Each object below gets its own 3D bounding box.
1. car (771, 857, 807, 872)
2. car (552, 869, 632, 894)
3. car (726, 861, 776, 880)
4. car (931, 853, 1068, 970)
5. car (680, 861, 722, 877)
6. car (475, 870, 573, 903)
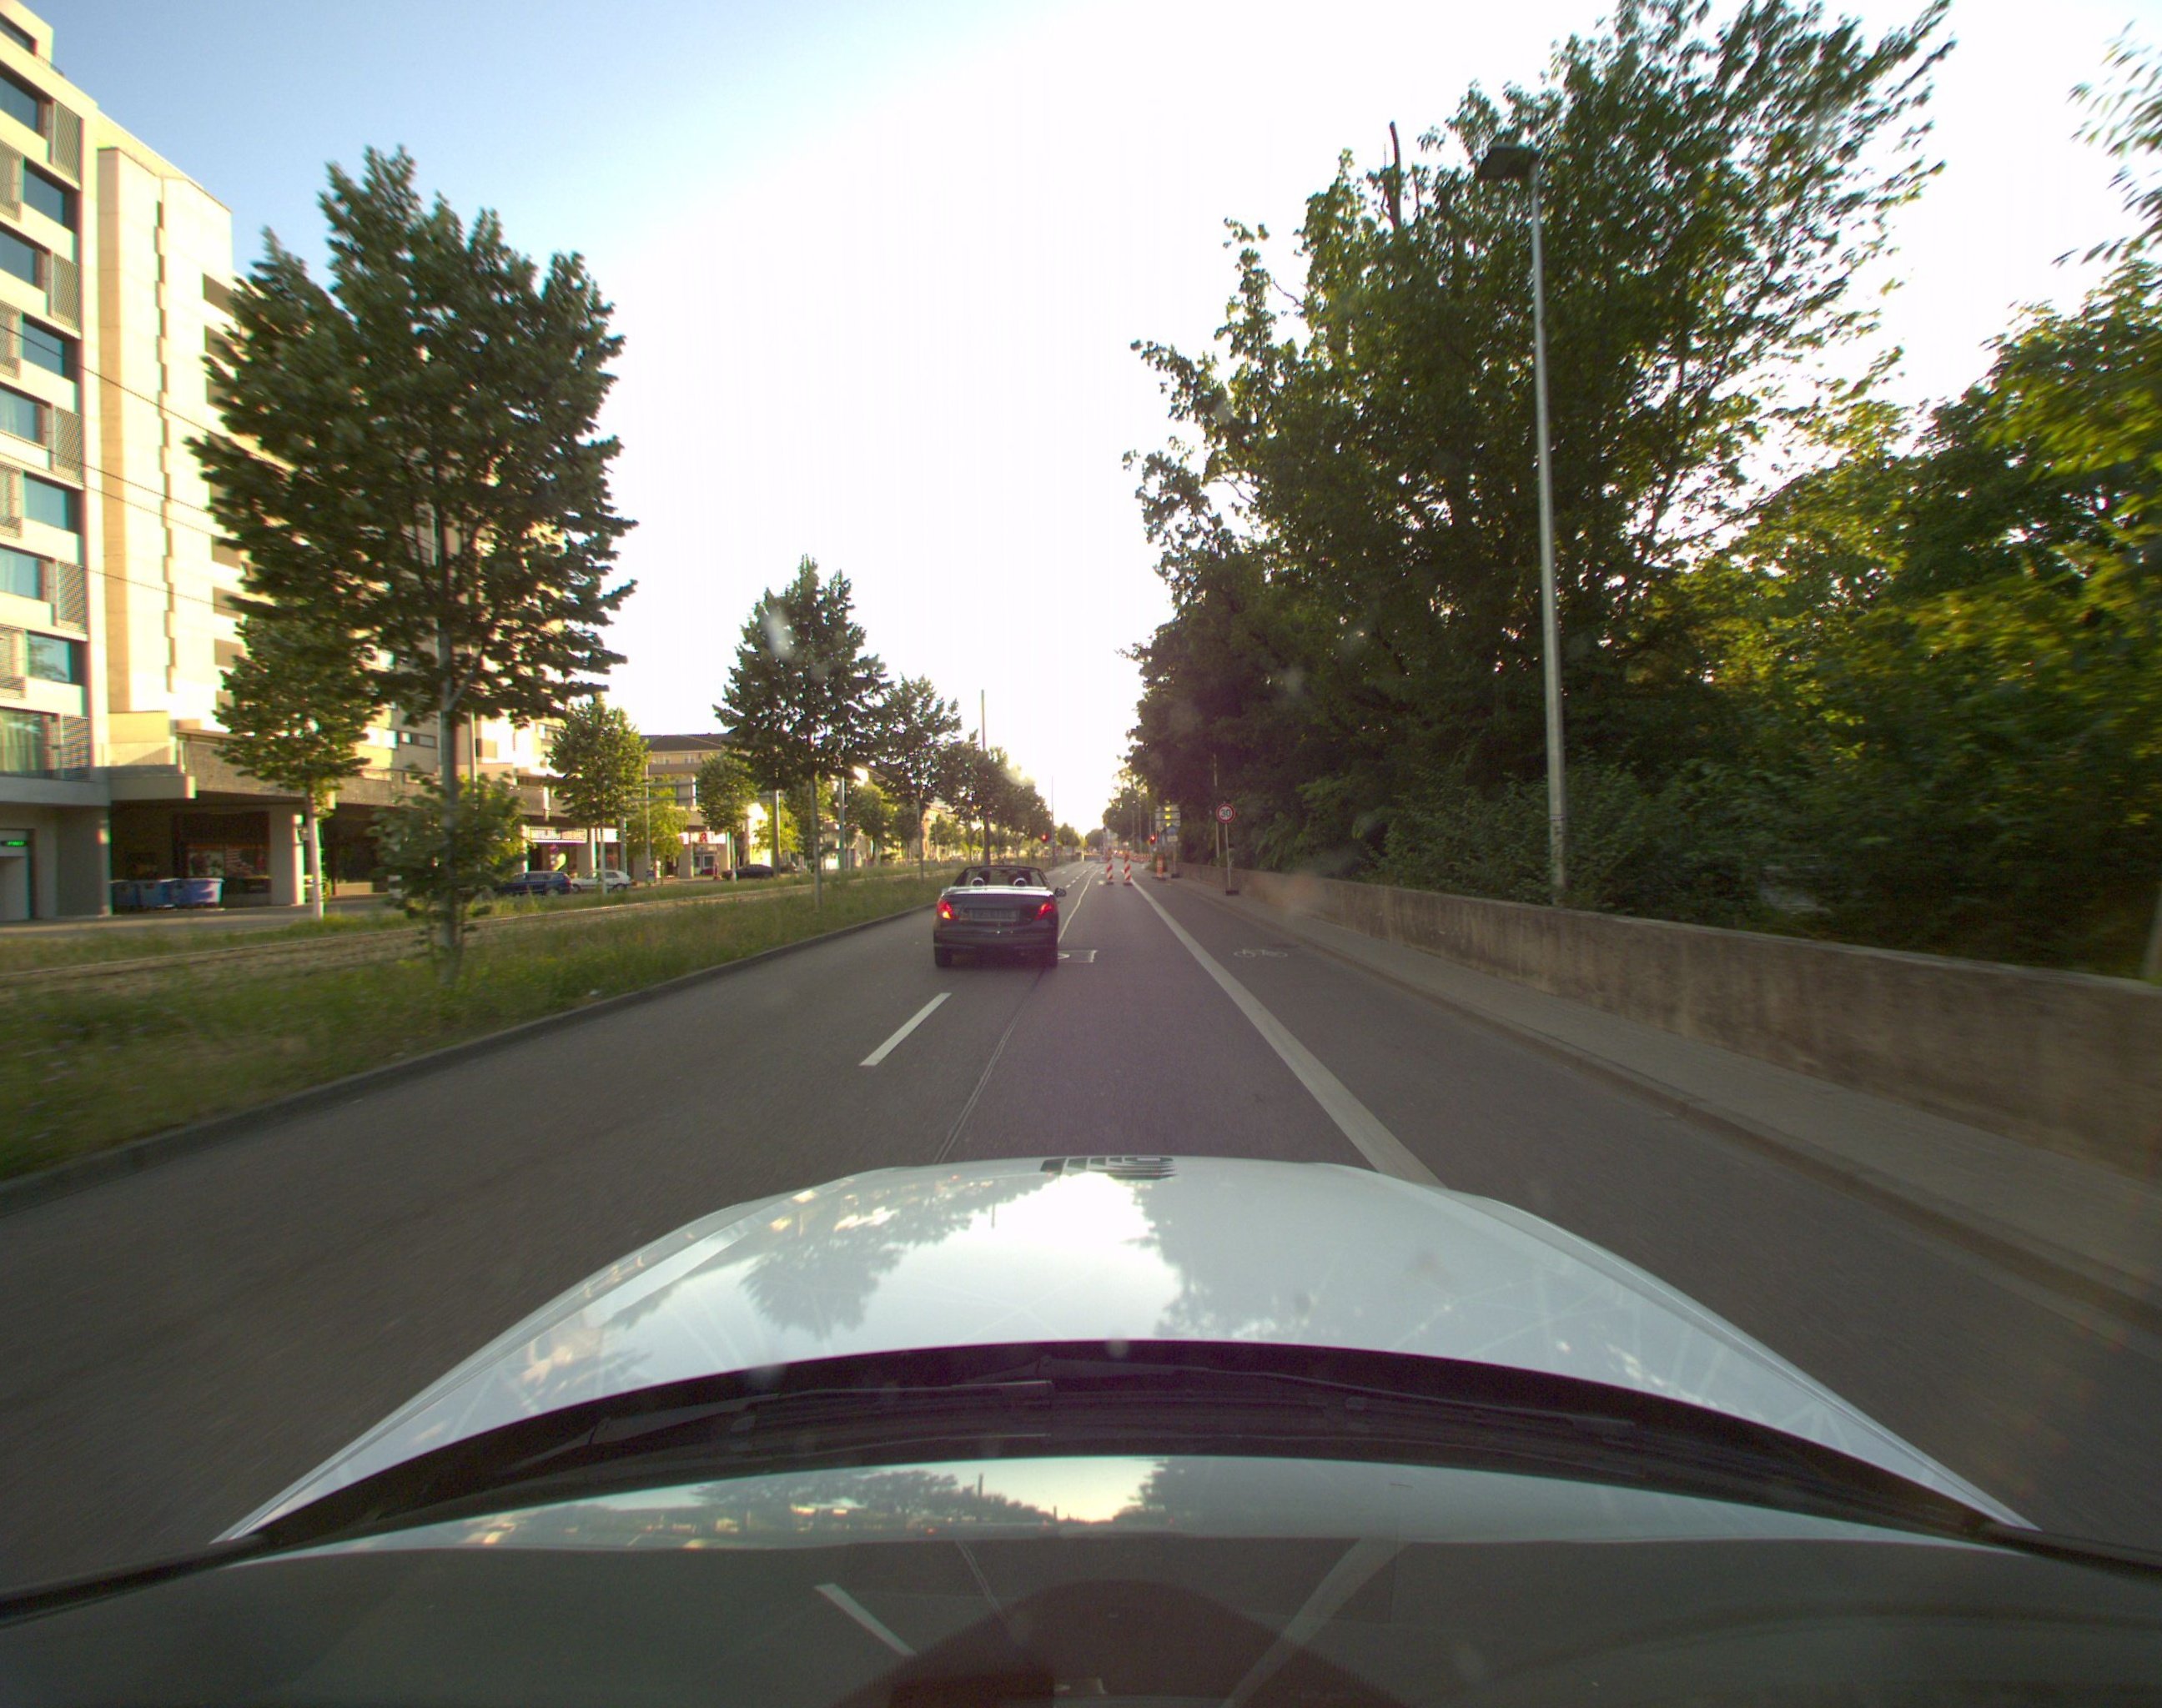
[{"bbox_3d":[-39.339,1.386,109.695,3.920,1.845,2.191,-2,0,0],"label":"car"},{"bbox_3d":[-30.703,1.725,51.166,4.150,1.436,1.805,0,0,-38],"label":"car"},{"bbox_3d":[-29.545,1.468,72.874,3.750,1.450,1.723,-2,-1,-41],"label":"car"},{"bbox_3d":[-1.249,0.728,12.377,1.717,1.449,3.892,-1,0,-6],"label":"car"},{"bbox_3d":[-50.240,1.936,107.790,4.314,1.769,2.167,-4,2,0],"label":"car"},{"bbox_3d":[-30.520,1.737,44.677,4.306,1.590,1.986,-1,0,-39],"label":"car"}]
